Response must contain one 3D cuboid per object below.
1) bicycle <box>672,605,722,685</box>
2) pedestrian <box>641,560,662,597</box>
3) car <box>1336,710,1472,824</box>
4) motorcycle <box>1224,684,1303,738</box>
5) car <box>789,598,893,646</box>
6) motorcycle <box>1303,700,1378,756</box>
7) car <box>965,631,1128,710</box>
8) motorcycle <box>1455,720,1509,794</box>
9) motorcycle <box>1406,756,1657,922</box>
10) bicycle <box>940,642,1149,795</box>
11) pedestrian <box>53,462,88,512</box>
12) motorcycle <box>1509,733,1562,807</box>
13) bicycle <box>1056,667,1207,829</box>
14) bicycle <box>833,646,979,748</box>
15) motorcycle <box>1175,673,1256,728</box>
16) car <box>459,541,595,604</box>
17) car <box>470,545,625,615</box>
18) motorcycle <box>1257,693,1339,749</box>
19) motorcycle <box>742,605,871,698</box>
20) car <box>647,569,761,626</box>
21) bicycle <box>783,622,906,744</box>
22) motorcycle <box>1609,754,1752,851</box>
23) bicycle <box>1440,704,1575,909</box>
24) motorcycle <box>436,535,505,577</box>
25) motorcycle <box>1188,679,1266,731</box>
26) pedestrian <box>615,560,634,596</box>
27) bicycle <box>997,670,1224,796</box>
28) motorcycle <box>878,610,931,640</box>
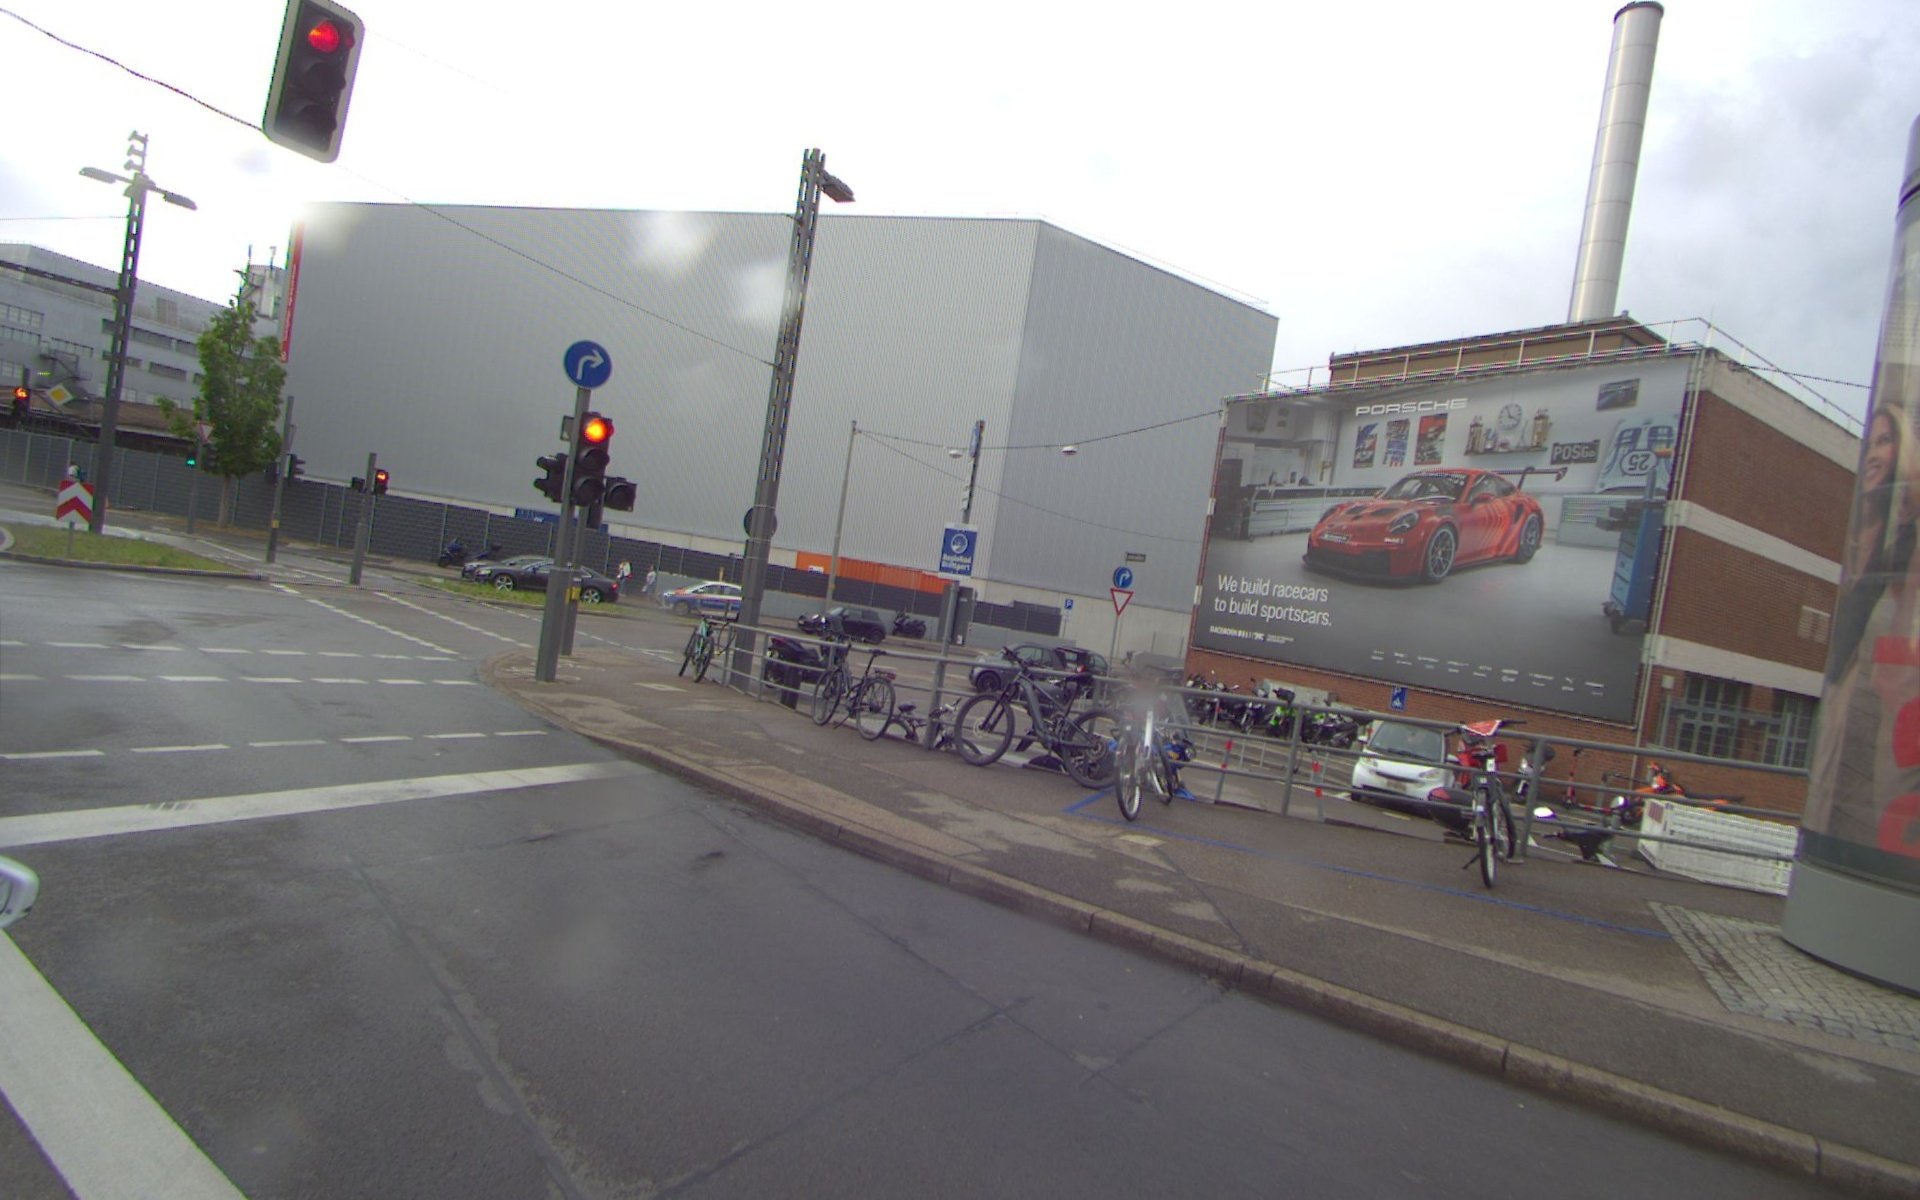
[{"bbox_3d":[-4.252,0.700,16.200,0.381,1.111,1.740,6,0,-25],"label":"bicycle"},{"bbox_3d":[-13.399,-0.940,43.658,0.642,1.499,0.436,7,0,-25],"label":"pedestrian"},{"bbox_3d":[8.327,3.000,18.714,1.665,1.500,3.554,10,1,31],"label":"car"},{"bbox_3d":[7.901,2.904,26.184,1.999,1.206,0.605,6,3,-29],"label":"motorcycle"},{"bbox_3d":[-5.094,0.943,43.257,3.957,1.408,1.744,10,0,-29],"label":"car"},{"bbox_3d":[9.223,3.091,24.366,2.005,1.206,0.603,6,4,-38],"label":"motorcycle"},{"bbox_3d":[2.314,1.911,27.598,4.091,1.547,1.836,8,-2,-3],"label":"car"},{"bbox_3d":[11.526,3.435,22.185,0.677,1.327,2.016,10,3,33],"label":"motorcycle"},{"bbox_3d":[4.956,2.054,8.865,1.718,1.002,0.699,8,0,21],"label":"motorcycle"},{"bbox_3d":[0.776,1.101,9.741,1.969,1.176,0.385,6,0,35],"label":"bicycle"},{"bbox_3d":[-32.082,-4.061,36.292,0.805,1.630,0.760,6,0,-41],"label":"pedestrian"},{"bbox_3d":[12.260,3.590,21.410,0.564,1.327,1.863,10,4,38],"label":"motorcycle"},{"bbox_3d":[1.502,1.188,8.540,0.666,1.154,1.774,6,-1,27],"label":"bicycle"},{"bbox_3d":[-0.656,1.100,11.623,1.789,0.916,0.530,6,-1,44],"label":"bicycle"},{"bbox_3d":[7.168,2.820,28.284,1.987,1.206,0.608,7,3,-4],"label":"motorcycle"},{"bbox_3d":[-15.678,-0.995,36.476,4.253,1.557,1.744,10,0,-29],"label":"car"},{"bbox_3d":[-13.816,-0.654,33.759,4.535,1.557,1.744,10,0,-29],"label":"car"},{"bbox_3d":[8.427,3.016,25.076,1.999,1.206,0.605,6,3,-29],"label":"motorcycle"},{"bbox_3d":[-2.787,0.971,18.488,0.746,1.470,2.225,8,0,43],"label":"motorcycle"},{"bbox_3d":[-10.229,-0.086,40.257,3.939,1.620,1.897,9,-1,-29],"label":"car"},{"bbox_3d":[-1.334,0.909,11.351,0.383,1.133,1.731,6,0,-39],"label":"bicycle"},{"bbox_3d":[14.006,3.903,19.607,0.922,1.327,1.961,5,4,-41],"label":"motorcycle"},{"bbox_3d":[4.016,1.444,7.501,0.581,1.176,1.805,6,0,23],"label":"bicycle"},{"bbox_3d":[-19.802,-1.774,40.739,2.335,1.360,0.648,8,0,-30],"label":"motorcycle"},{"bbox_3d":[7.206,2.838,27.163,1.998,1.206,0.605,6,3,-27],"label":"motorcycle"},{"bbox_3d":[-14.436,-0.950,43.286,0.605,1.499,0.421,7,0,-23],"label":"pedestrian"},{"bbox_3d":[1.517,1.324,10.344,2.138,0.916,0.693,6,-1,32],"label":"bicycle"},{"bbox_3d":[-2.849,1.272,51.738,2.470,1.201,0.991,8,0,-34],"label":"motorcycle"}]
